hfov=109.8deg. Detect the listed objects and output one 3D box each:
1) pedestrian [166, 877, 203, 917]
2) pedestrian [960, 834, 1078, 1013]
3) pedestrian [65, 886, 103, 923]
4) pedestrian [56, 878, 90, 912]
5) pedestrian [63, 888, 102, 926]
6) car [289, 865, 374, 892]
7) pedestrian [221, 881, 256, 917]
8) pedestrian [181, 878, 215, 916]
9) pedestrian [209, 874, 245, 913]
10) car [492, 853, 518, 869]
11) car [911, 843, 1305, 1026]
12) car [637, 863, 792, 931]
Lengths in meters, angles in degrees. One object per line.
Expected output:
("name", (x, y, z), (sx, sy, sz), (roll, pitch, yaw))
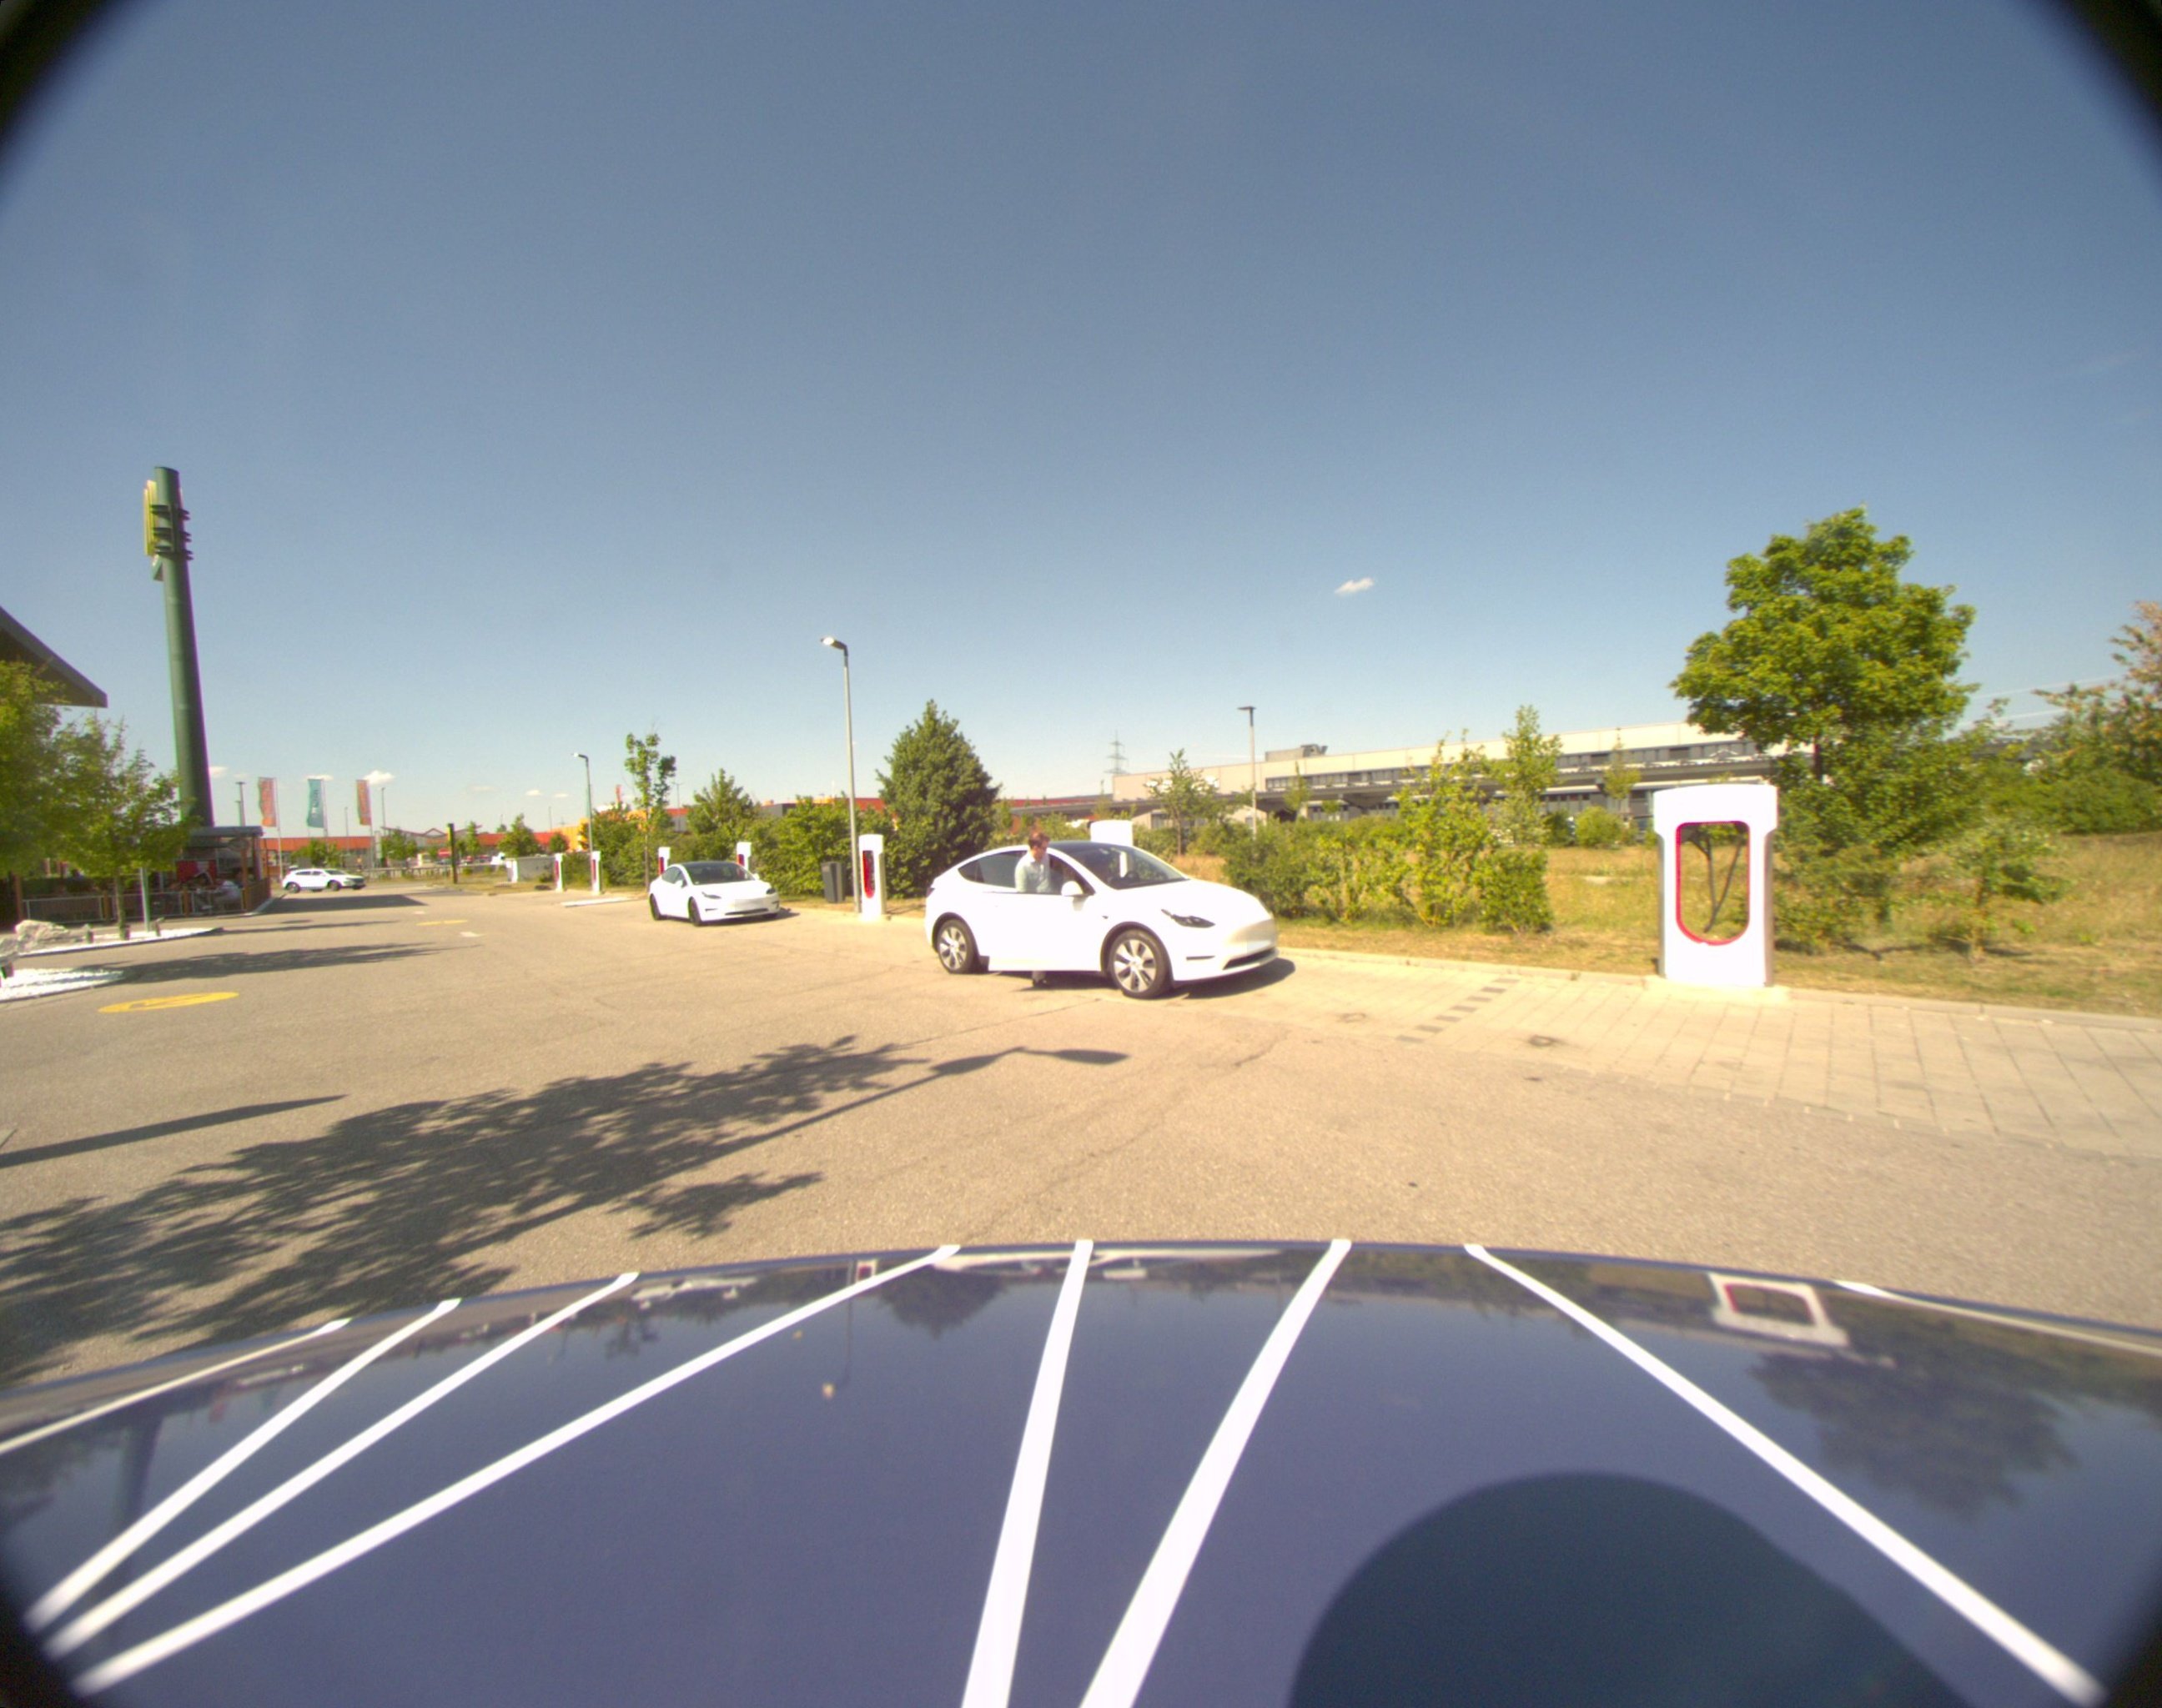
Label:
("pedestrian", (-29.982, 1.423, 25.430), (0.523, 1.251, 0.717), (-1, 3, 41))
("pedestrian", (-0.693, 0.705, 8.330), (0.738, 1.790, 1.033), (-4, 3, -41))
("pedestrian", (-31.793, 1.602, 24.235), (0.523, 1.117, 0.636), (-1, 3, 41))
("pedestrian", (-34.413, 1.381, 25.946), (0.654, 1.094, 0.574), (-1, 3, 44))
("pedestrian", (-31.358, 1.667, 23.870), (0.523, 1.117, 0.636), (-1, 3, 41))
("car", (-52.844, 1.695, 53.654), (3.998, 1.653, 1.809), (-3, 2, -3))
("pedestrian", (-30.576, 1.624, 27.575), (0.571, 1.251, 0.731), (-1, 3, 40))
("pedestrian", (-31.247, 1.517, 26.897), (0.523, 1.251, 0.717), (-1, 3, 41))
("pedestrian", (-29.546, 1.359, 26.286), (0.571, 1.251, 0.731), (-1, 3, 40))
("car", (-74.916, 0.939, 98.835), (3.989, 2.002, 2.004), (-1, 2, 45))
("car", (0.129, 0.741, 9.065), (4.476, 1.591, 1.873), (-1, 3, 42))
("car", (-9.019, 0.958, 18.527), (4.436, 1.370, 1.825), (-1, 2, 43))
